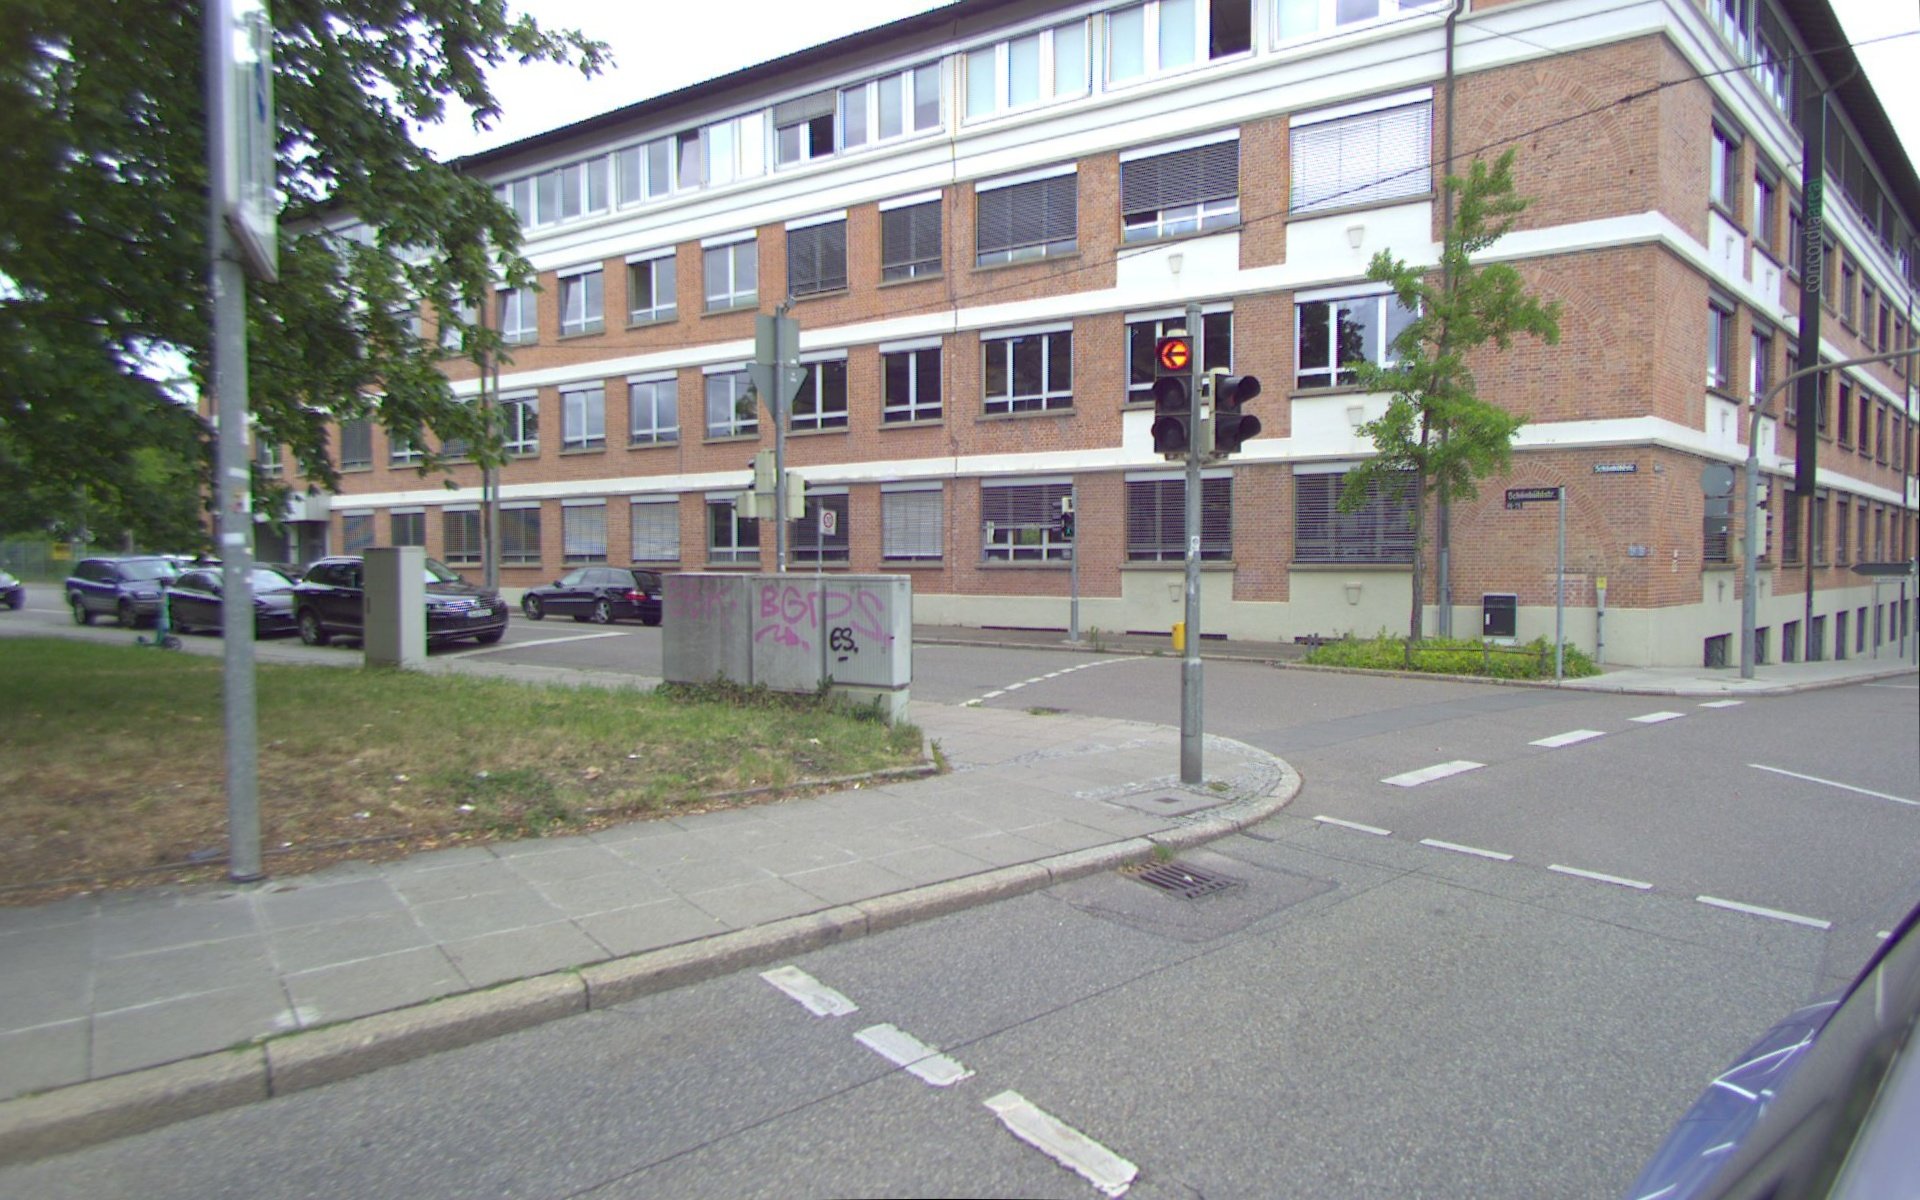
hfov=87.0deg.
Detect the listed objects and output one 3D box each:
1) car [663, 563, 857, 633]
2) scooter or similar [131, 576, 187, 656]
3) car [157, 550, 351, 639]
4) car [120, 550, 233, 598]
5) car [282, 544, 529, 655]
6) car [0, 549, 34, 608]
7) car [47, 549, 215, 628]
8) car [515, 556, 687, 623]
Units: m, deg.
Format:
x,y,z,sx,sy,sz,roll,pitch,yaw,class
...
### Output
x,y,z,sx,sy,sz,roll,pitch,yaw,class
-4.793,-0.051,24.108,4.380,1.423,1.755,2,-1,28,car
-13.172,0.251,16.637,1.095,1.245,0.338,2,1,30,scooter or similar
-15.275,-0.197,21.860,4.274,1.627,1.730,2,7,30,car
-29.374,-0.990,37.919,4.222,1.568,1.703,2,-1,28,car
-10.551,-0.123,19.193,4.618,1.746,1.946,2,7,30,car
-29.415,-0.632,29.757,4.274,1.627,1.980,2,7,30,car
-20.026,-0.354,24.426,4.274,1.627,1.681,2,7,30,car
-9.440,-0.282,26.555,4.358,1.528,1.755,2,-1,28,car
